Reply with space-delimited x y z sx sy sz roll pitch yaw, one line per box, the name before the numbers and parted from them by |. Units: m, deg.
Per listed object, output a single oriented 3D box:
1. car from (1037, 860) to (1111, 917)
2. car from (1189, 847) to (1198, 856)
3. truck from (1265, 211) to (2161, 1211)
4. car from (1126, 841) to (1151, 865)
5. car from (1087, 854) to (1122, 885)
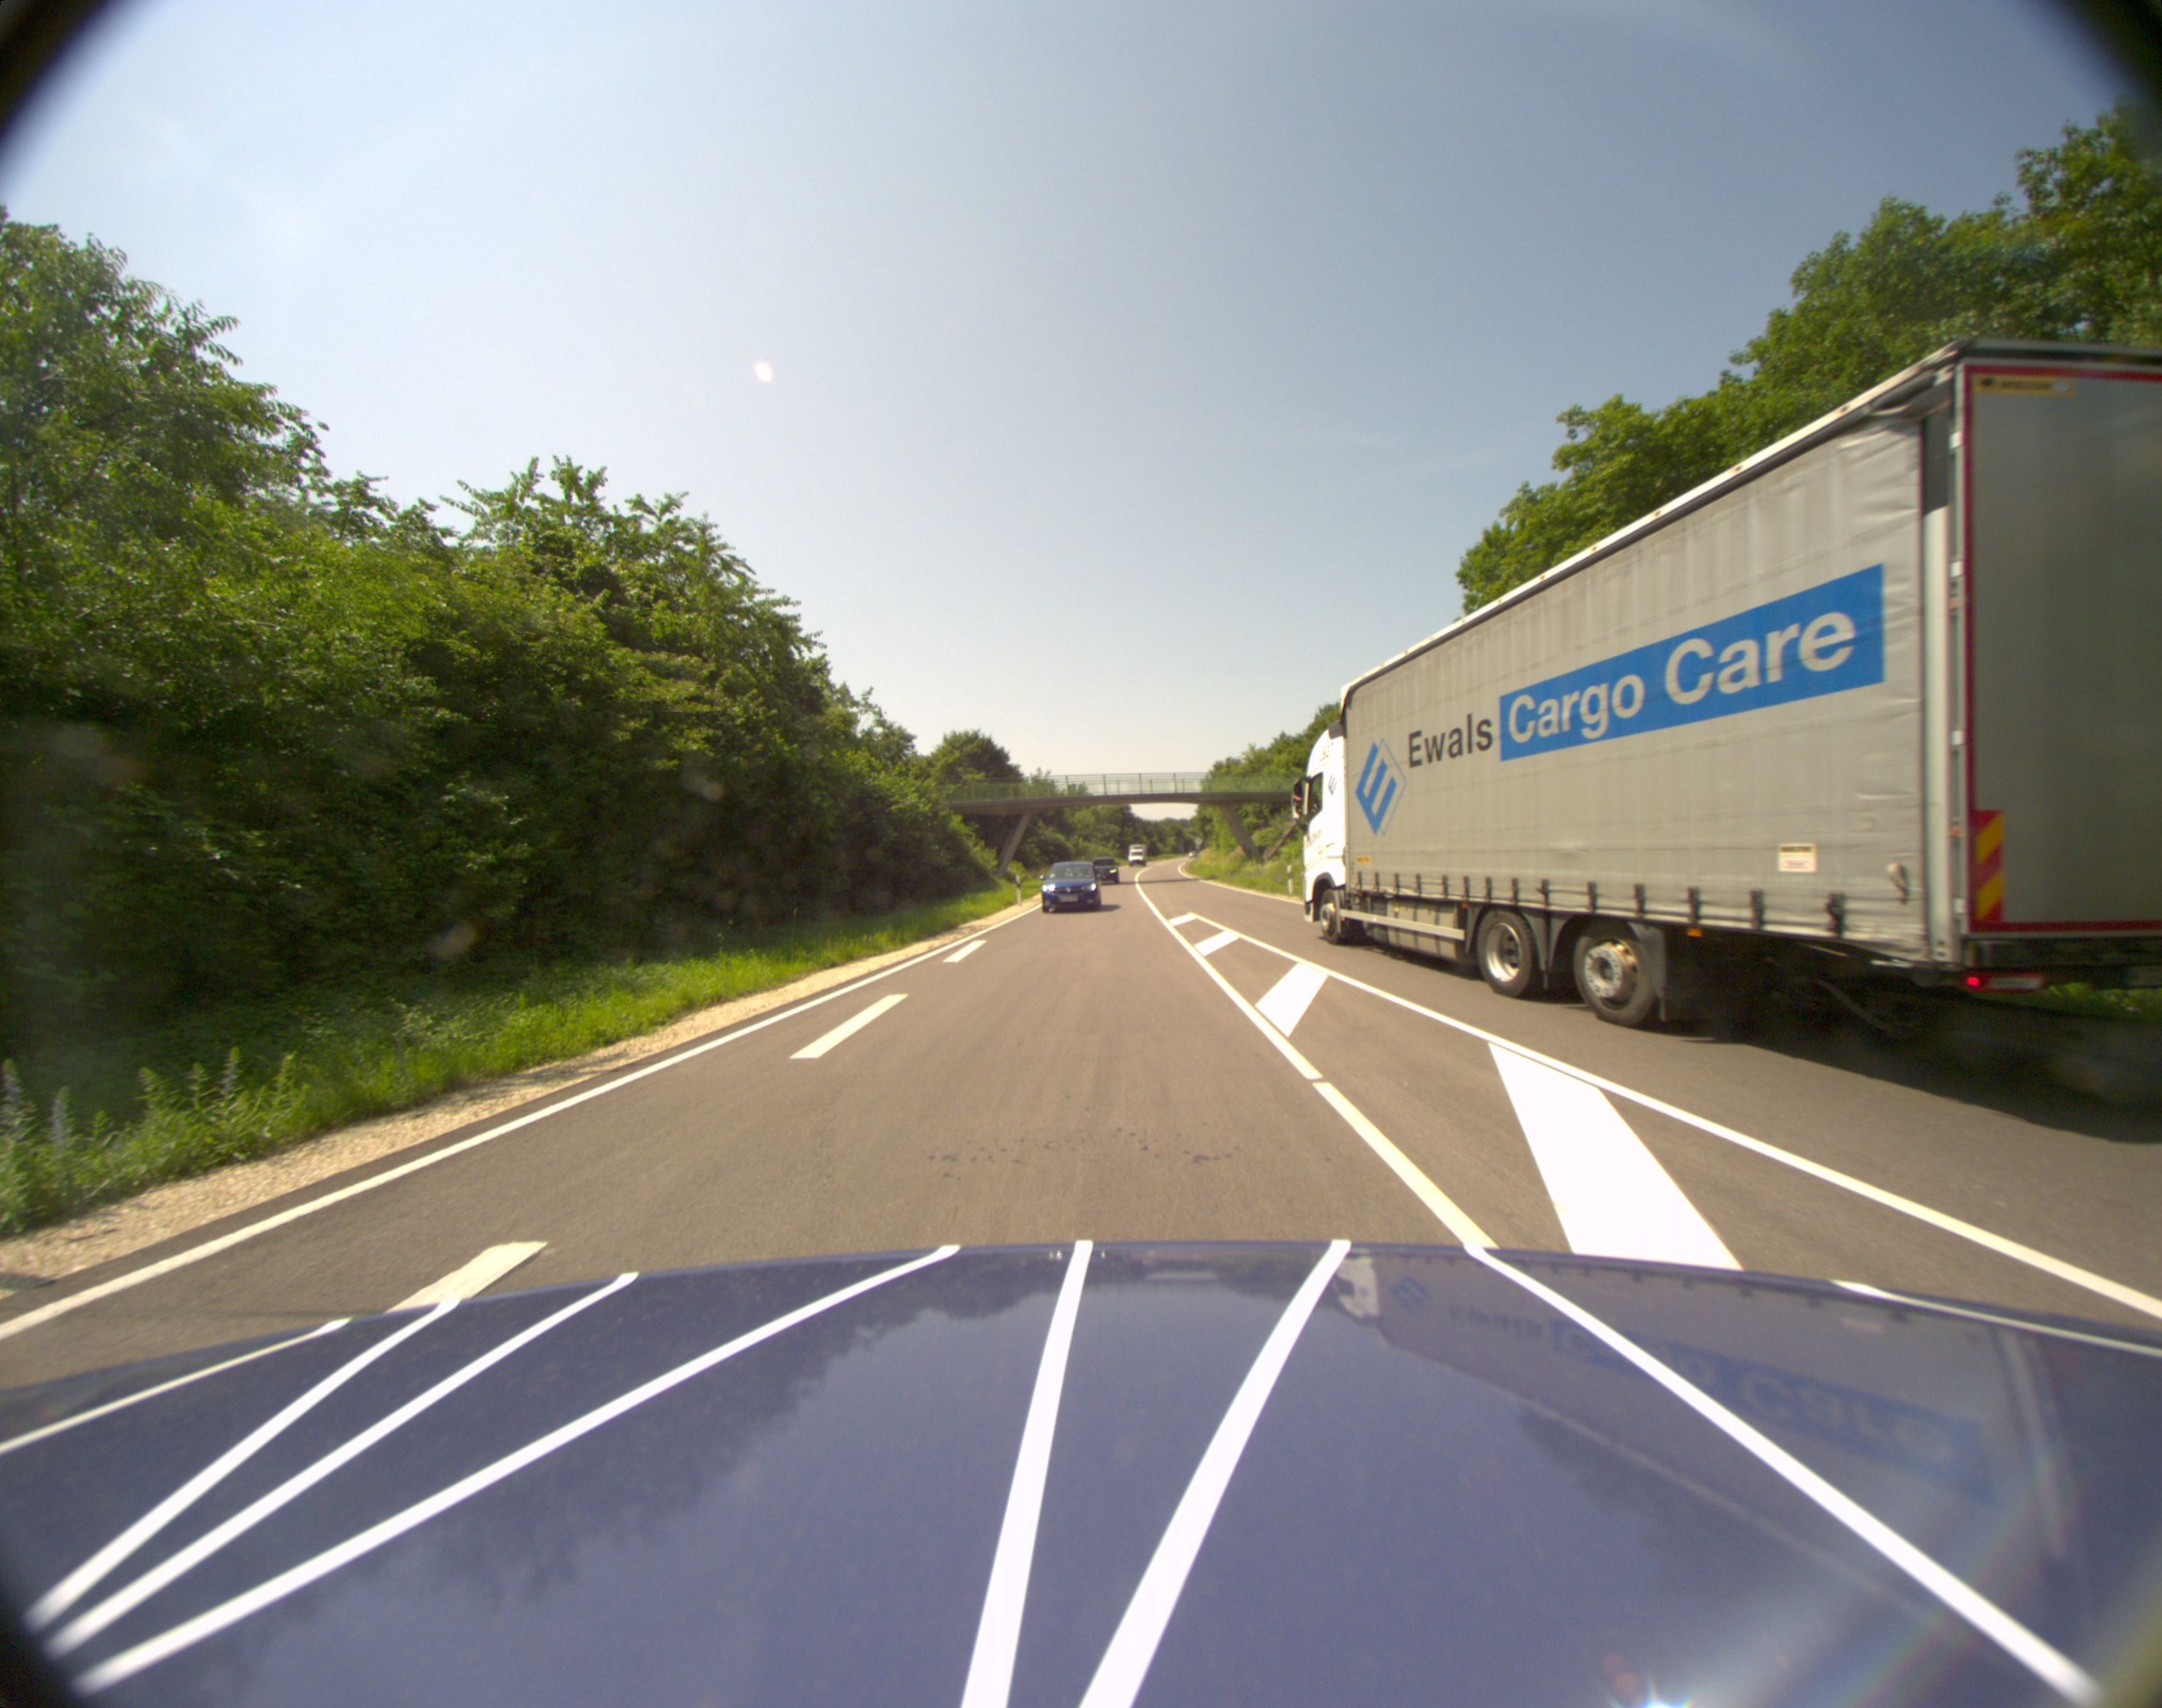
car | -0.132 1.017 24.129 1.807 1.532 3.946 -2 0 7
car | 26.353 -0.576 178.630 1.974 2.020 5.402 -2 0 8
truck | 5.255 -0.613 8.703 2.806 4.071 11.059 -3 0 -4
car | 7.874 -0.114 103.597 2.590 3.046 6.886 -2 0 10
car | 1.535 0.895 47.431 1.924 1.711 5.480 -2 0 4
